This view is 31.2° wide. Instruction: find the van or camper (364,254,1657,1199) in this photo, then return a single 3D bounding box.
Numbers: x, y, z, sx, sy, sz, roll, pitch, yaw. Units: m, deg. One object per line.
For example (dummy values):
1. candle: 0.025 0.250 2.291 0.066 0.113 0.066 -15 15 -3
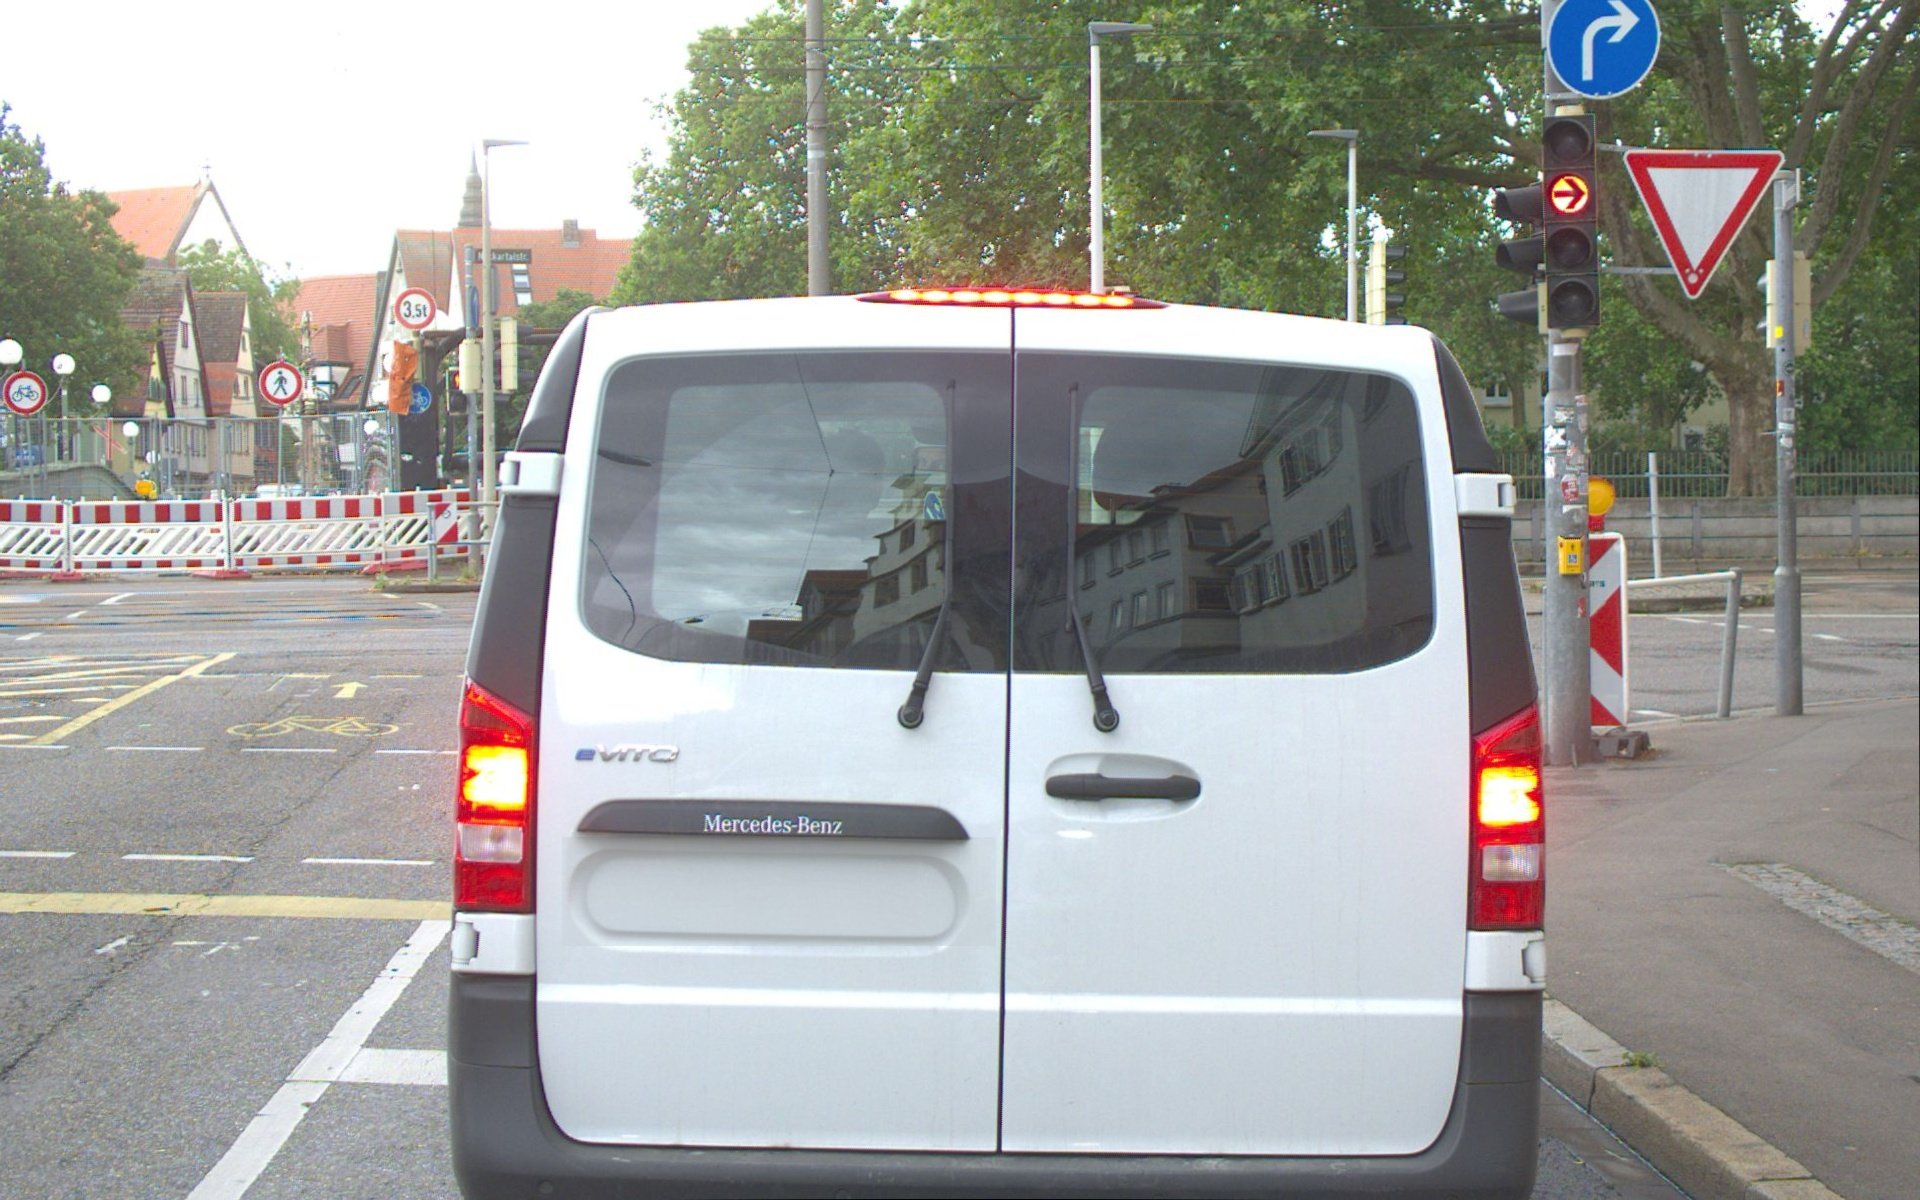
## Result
1. van or camper: -0.062 0.344 7.426 1.937 1.918 4.442 1 3 -4
